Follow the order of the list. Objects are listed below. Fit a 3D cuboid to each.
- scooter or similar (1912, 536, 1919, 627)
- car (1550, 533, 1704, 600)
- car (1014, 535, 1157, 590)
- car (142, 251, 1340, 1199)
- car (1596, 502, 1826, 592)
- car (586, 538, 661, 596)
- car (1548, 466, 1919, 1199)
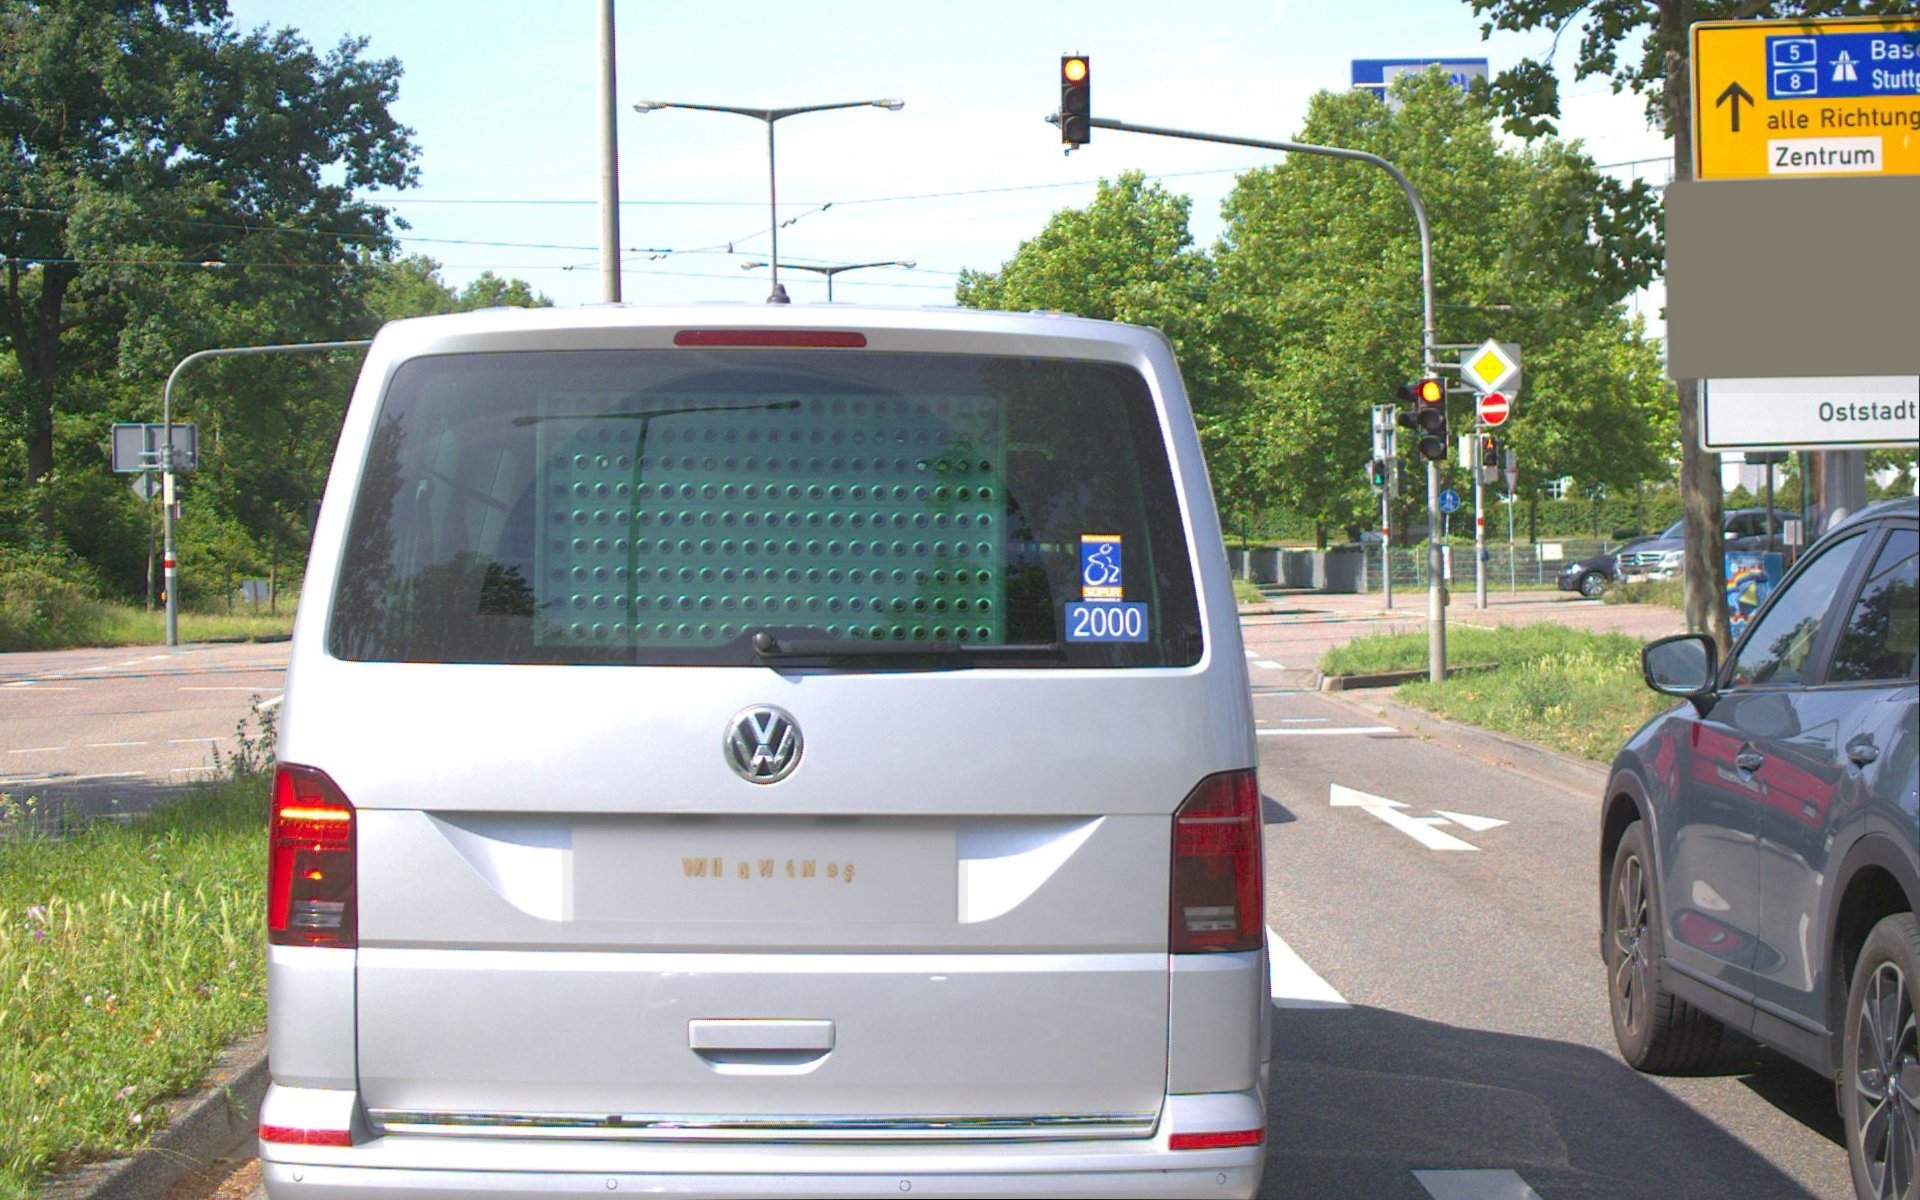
[{"bbox_3d":[12.127,-0.228,42.391,0.424,1.122,1.124,-1,1,-1],"label":"scooter or similar"},{"bbox_3d":[16.083,-0.812,83.001,3.597,1.560,1.999,1,1,11],"label":"car"},{"bbox_3d":[3.416,-1.028,94.290,1.776,1.439,4.627,-2,1,-29],"label":"car"},{"bbox_3d":[-0.382,0.382,8.133,1.941,1.965,5.022,-1,1,-1],"label":"car"},{"bbox_3d":[15.050,-1.059,68.809,4.613,1.683,1.915,-2,1,-37],"label":"car"},{"bbox_3d":[-9.430,-0.947,96.512,1.849,1.556,4.001,-1,1,-3],"label":"car"},{"bbox_3d":[2.771,0.542,8.437,1.766,1.653,4.496,1,1,-1],"label":"car"}]
